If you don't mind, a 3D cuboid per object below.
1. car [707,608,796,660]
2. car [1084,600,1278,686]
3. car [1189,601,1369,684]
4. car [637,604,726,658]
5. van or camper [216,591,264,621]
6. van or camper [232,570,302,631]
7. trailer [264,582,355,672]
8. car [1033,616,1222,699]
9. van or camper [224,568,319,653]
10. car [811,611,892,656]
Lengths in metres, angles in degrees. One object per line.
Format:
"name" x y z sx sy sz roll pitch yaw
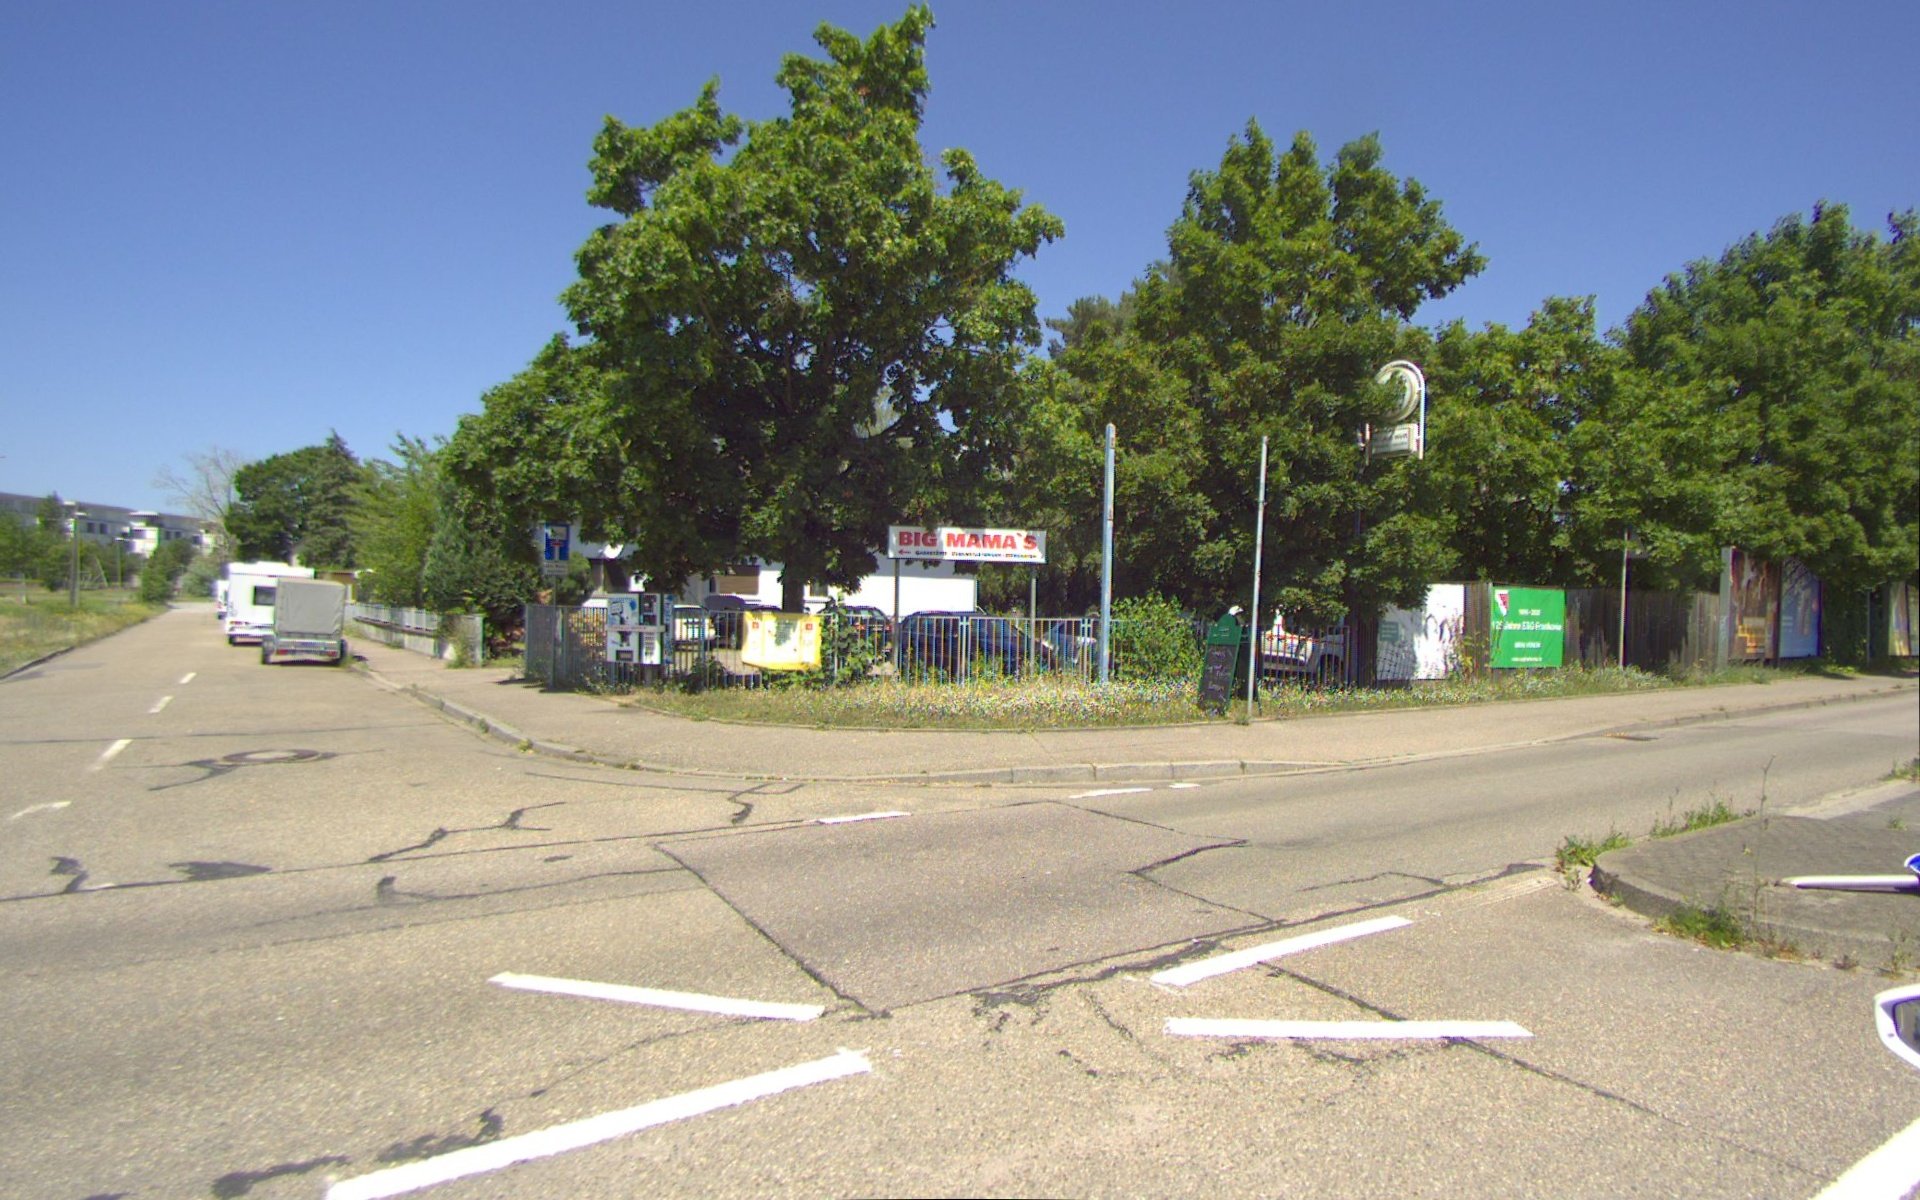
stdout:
"car" -6.874 1.078 32.972 1.754 1.586 3.313 1 -1 -34
"car" 5.220 0.980 24.490 1.975 1.865 4.802 1 -1 -28
"car" 8.265 1.052 26.317 1.766 2.003 4.274 1 -1 -37
"car" -8.837 0.939 31.708 1.754 1.598 3.313 2 -1 -34
"van or camper" -48.018 0.425 66.915 2.338 1.905 5.003 2 -1 -39
"van or camper" -32.054 0.058 46.389 2.449 2.628 5.907 1 -1 -36
"trailer" -16.254 0.654 25.037 1.743 2.072 3.391 2 -1 -35
"car" 3.419 1.128 21.136 1.791 1.546 3.839 1 -1 -34
"van or camper" -23.311 0.305 34.016 2.468 2.626 4.421 1 1 -35
"car" -3.835 1.156 35.190 1.528 1.466 3.113 1 -1 -34
